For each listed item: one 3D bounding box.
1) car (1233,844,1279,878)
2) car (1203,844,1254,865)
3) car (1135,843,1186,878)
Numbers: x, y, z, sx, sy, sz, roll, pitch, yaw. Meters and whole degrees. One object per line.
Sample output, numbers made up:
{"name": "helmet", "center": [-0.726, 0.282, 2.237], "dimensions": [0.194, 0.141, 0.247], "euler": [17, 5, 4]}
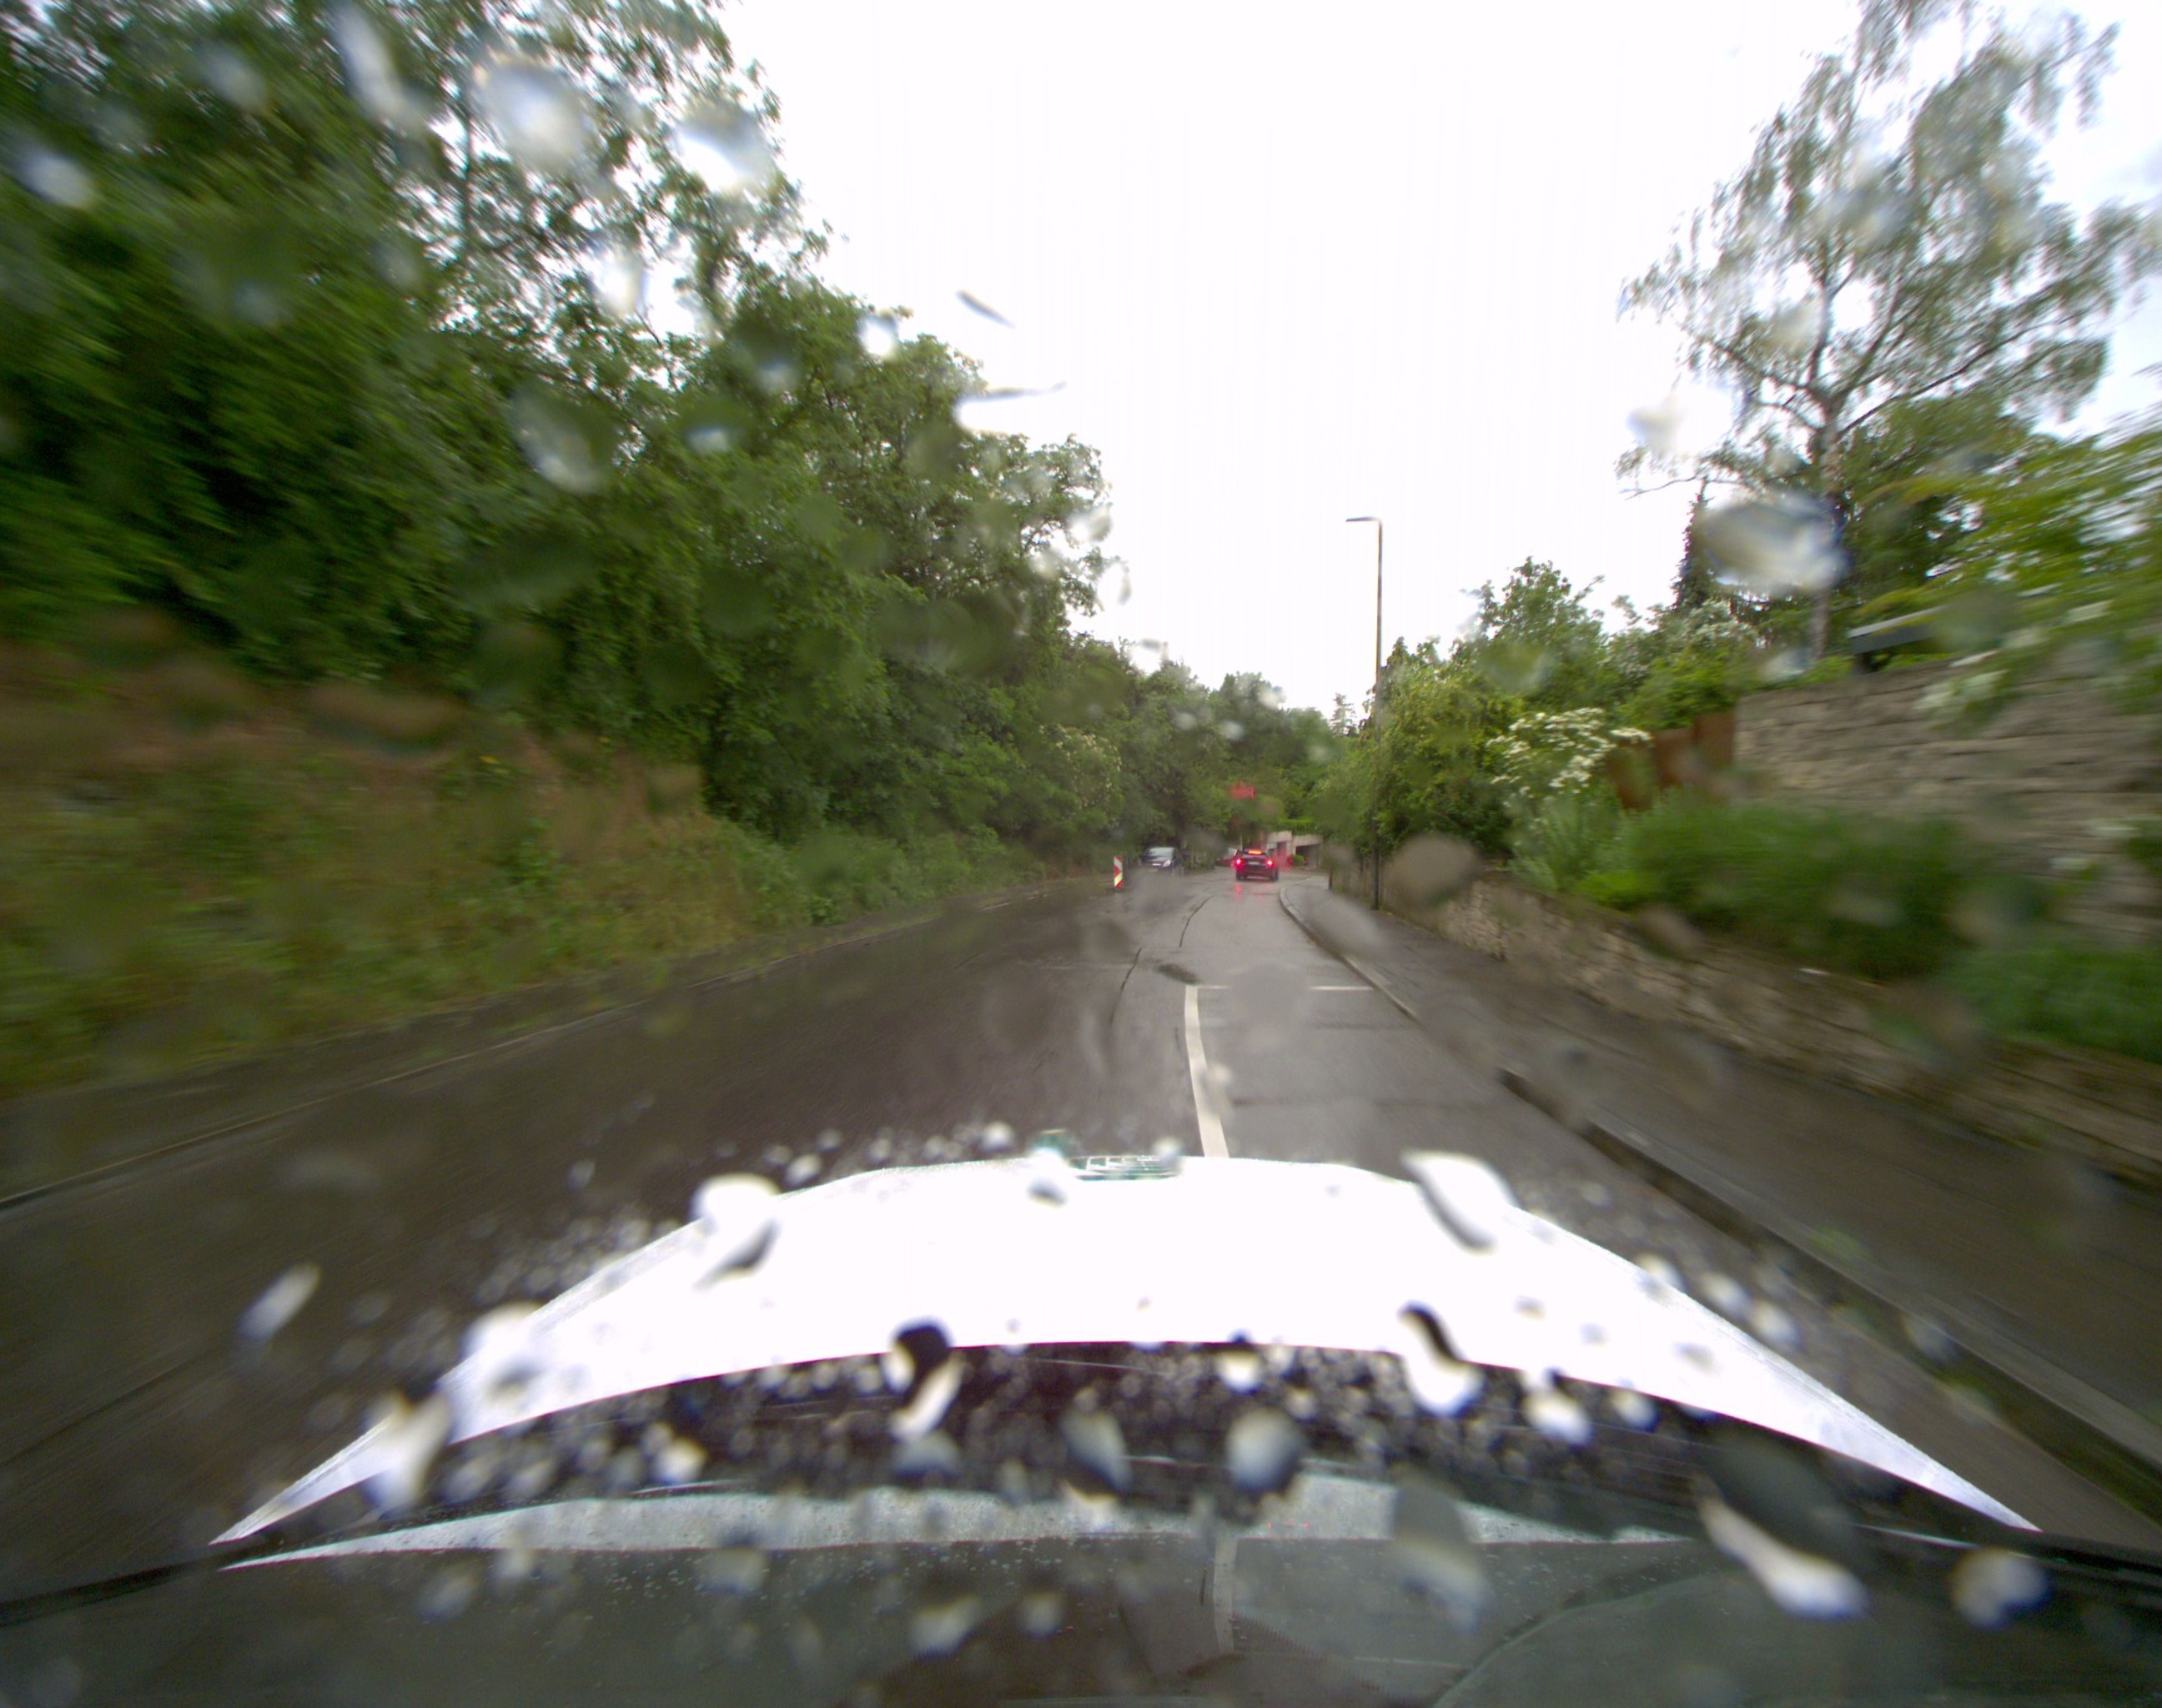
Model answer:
{"name": "car", "center": [8.428, 0.305, 38.984], "dimensions": [1.854, 1.512, 4.110], "euler": [0, 0, 16]}
{"name": "car", "center": [11.039, 0.034, 60.762], "dimensions": [1.974, 1.508, 4.599], "euler": [2, 1, 35]}
{"name": "car", "center": [3.745, 0.249, 37.826], "dimensions": [1.687, 1.471, 4.017], "euler": [1, 1, 15]}
